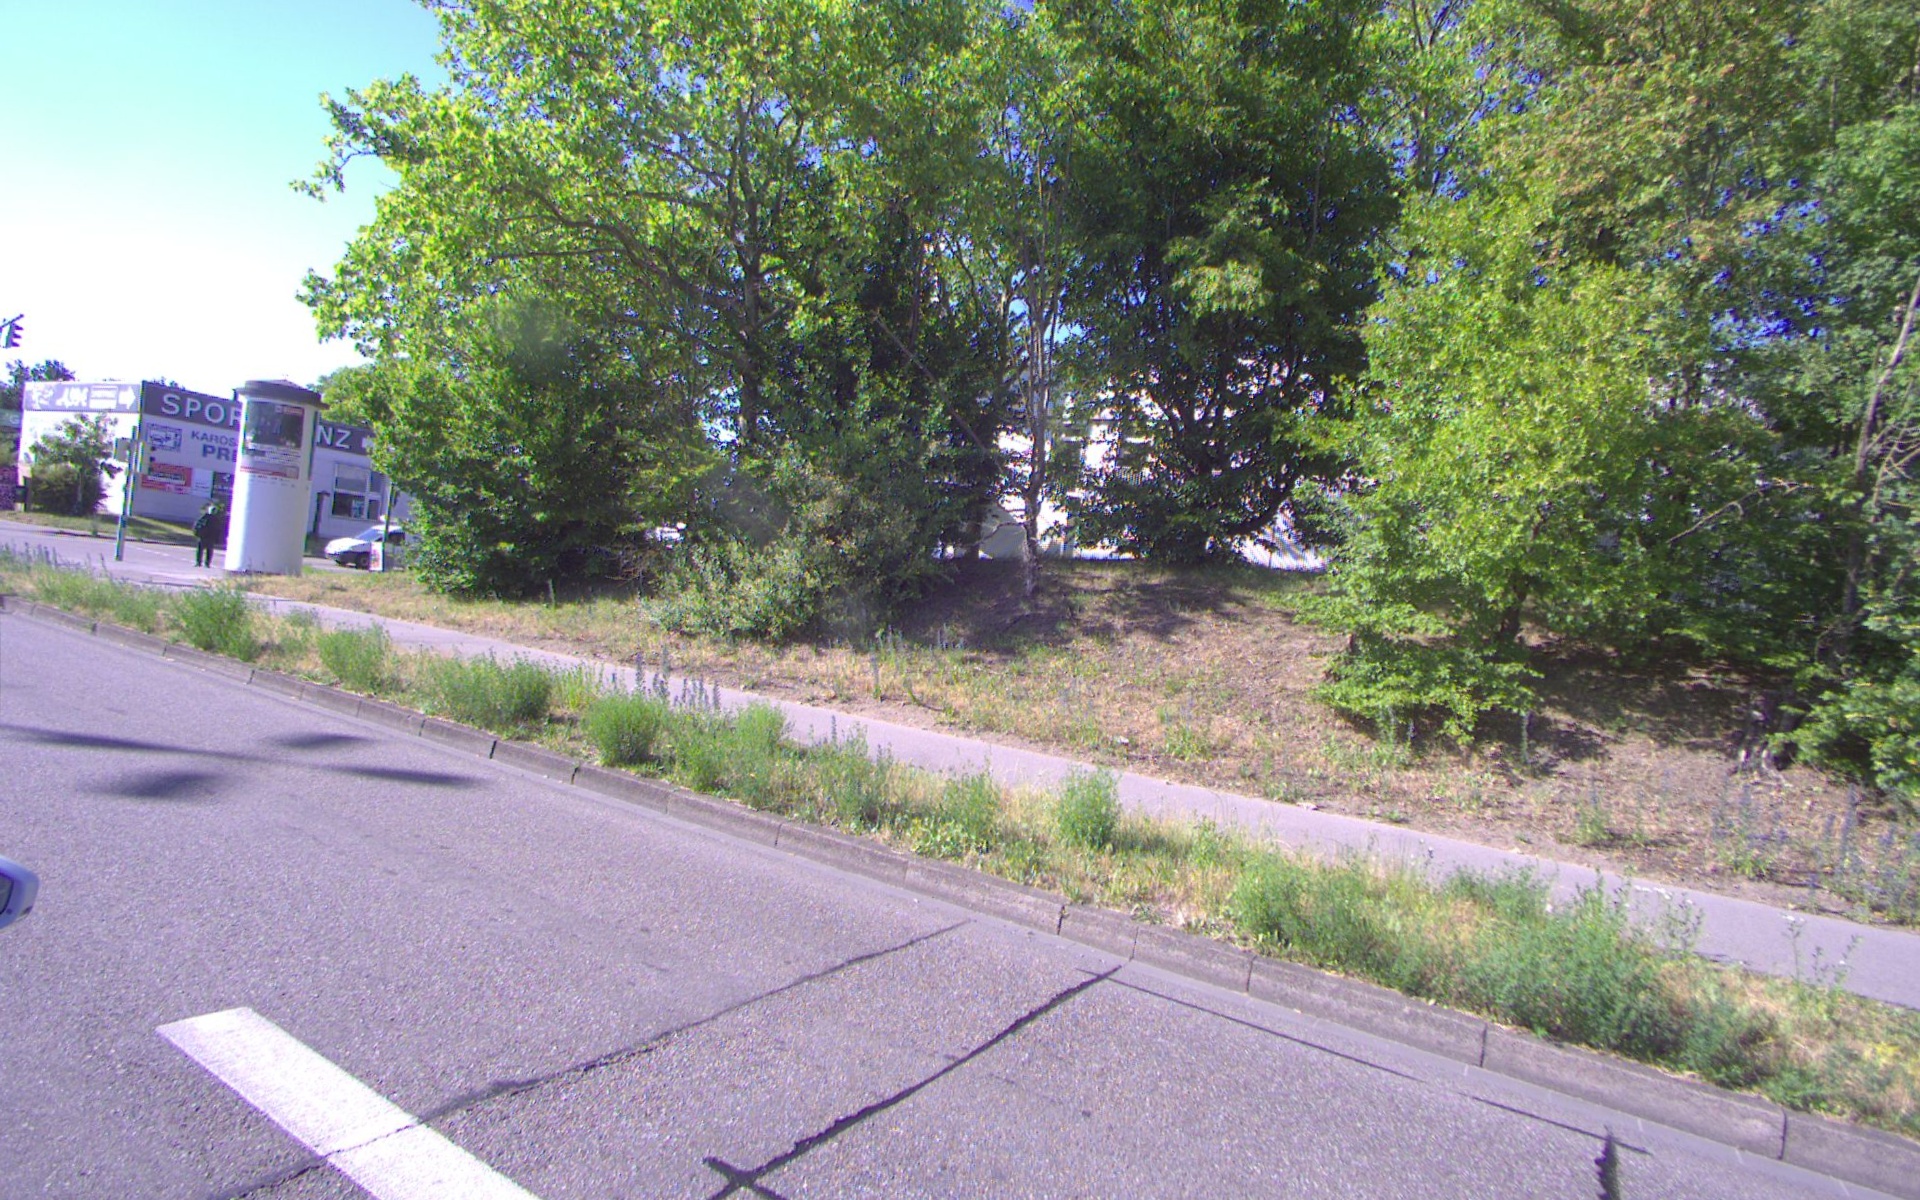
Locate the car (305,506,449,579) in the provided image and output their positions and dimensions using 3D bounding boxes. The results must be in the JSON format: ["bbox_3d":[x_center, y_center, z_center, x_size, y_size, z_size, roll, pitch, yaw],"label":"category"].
[{"bbox_3d":[-23.013,-2.227,39.909,1.965,2.171,4.415,7,-1,28],"label":"car"}]

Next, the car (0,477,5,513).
[{"bbox_3d":[-48.292,-5.345,47.695,1.663,1.726,4.003,7,-1,16],"label":"car"}]

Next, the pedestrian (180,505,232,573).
[{"bbox_3d":[-21.027,-1.695,28.057,0.841,1.743,0.822,7,0,39],"label":"pedestrian"}]
